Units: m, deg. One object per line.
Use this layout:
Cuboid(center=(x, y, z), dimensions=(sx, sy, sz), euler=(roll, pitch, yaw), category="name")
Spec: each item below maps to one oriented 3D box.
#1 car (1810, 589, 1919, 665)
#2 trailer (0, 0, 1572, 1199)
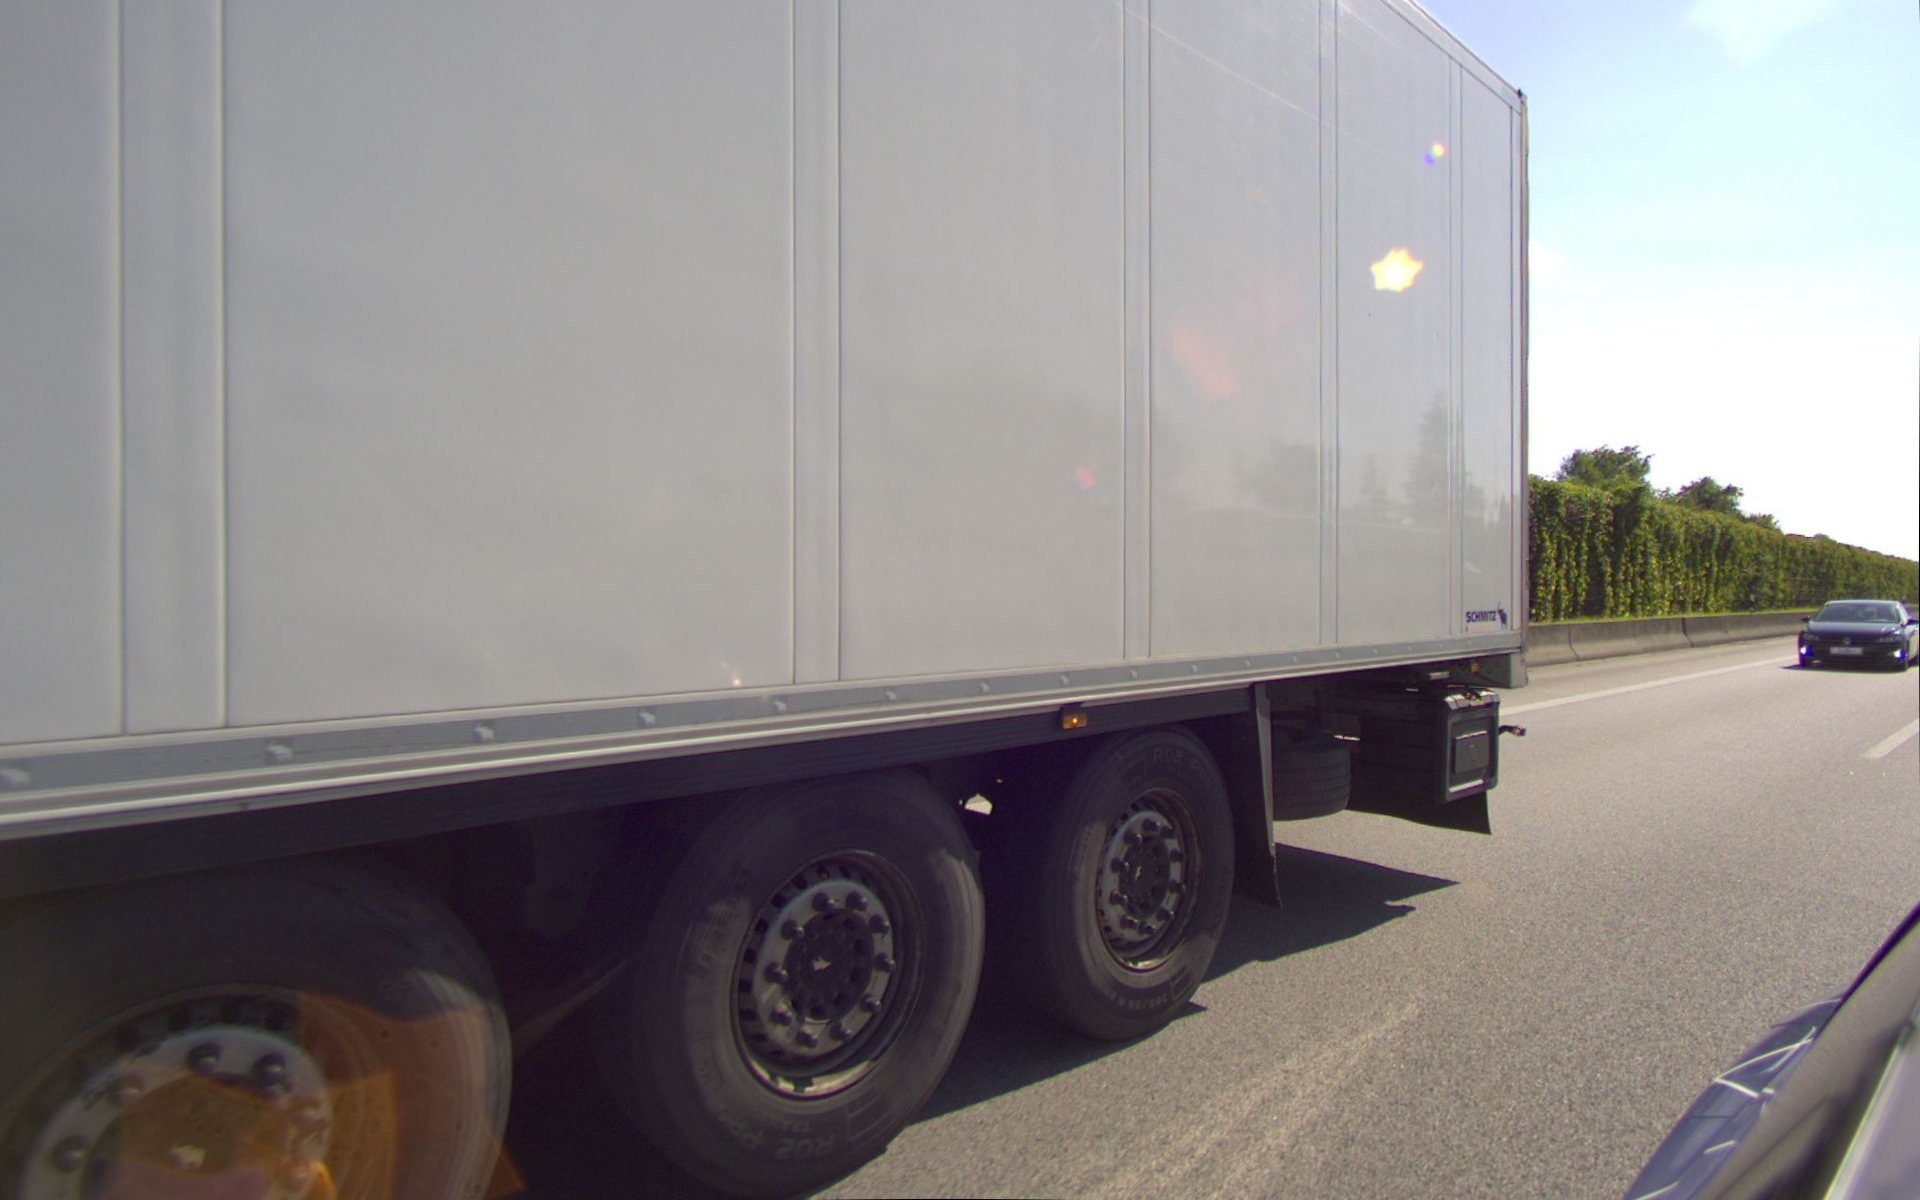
Cuboid(center=(19.863, 0.509, 21.895), dimensions=(4.466, 1.473, 1.667), euler=(-1, 1, -42), category="car")
Cuboid(center=(-3.135, -0.616, 1.473), dimensions=(13.915, 4.015, 2.823), euler=(-1, 2, -42), category="trailer")
